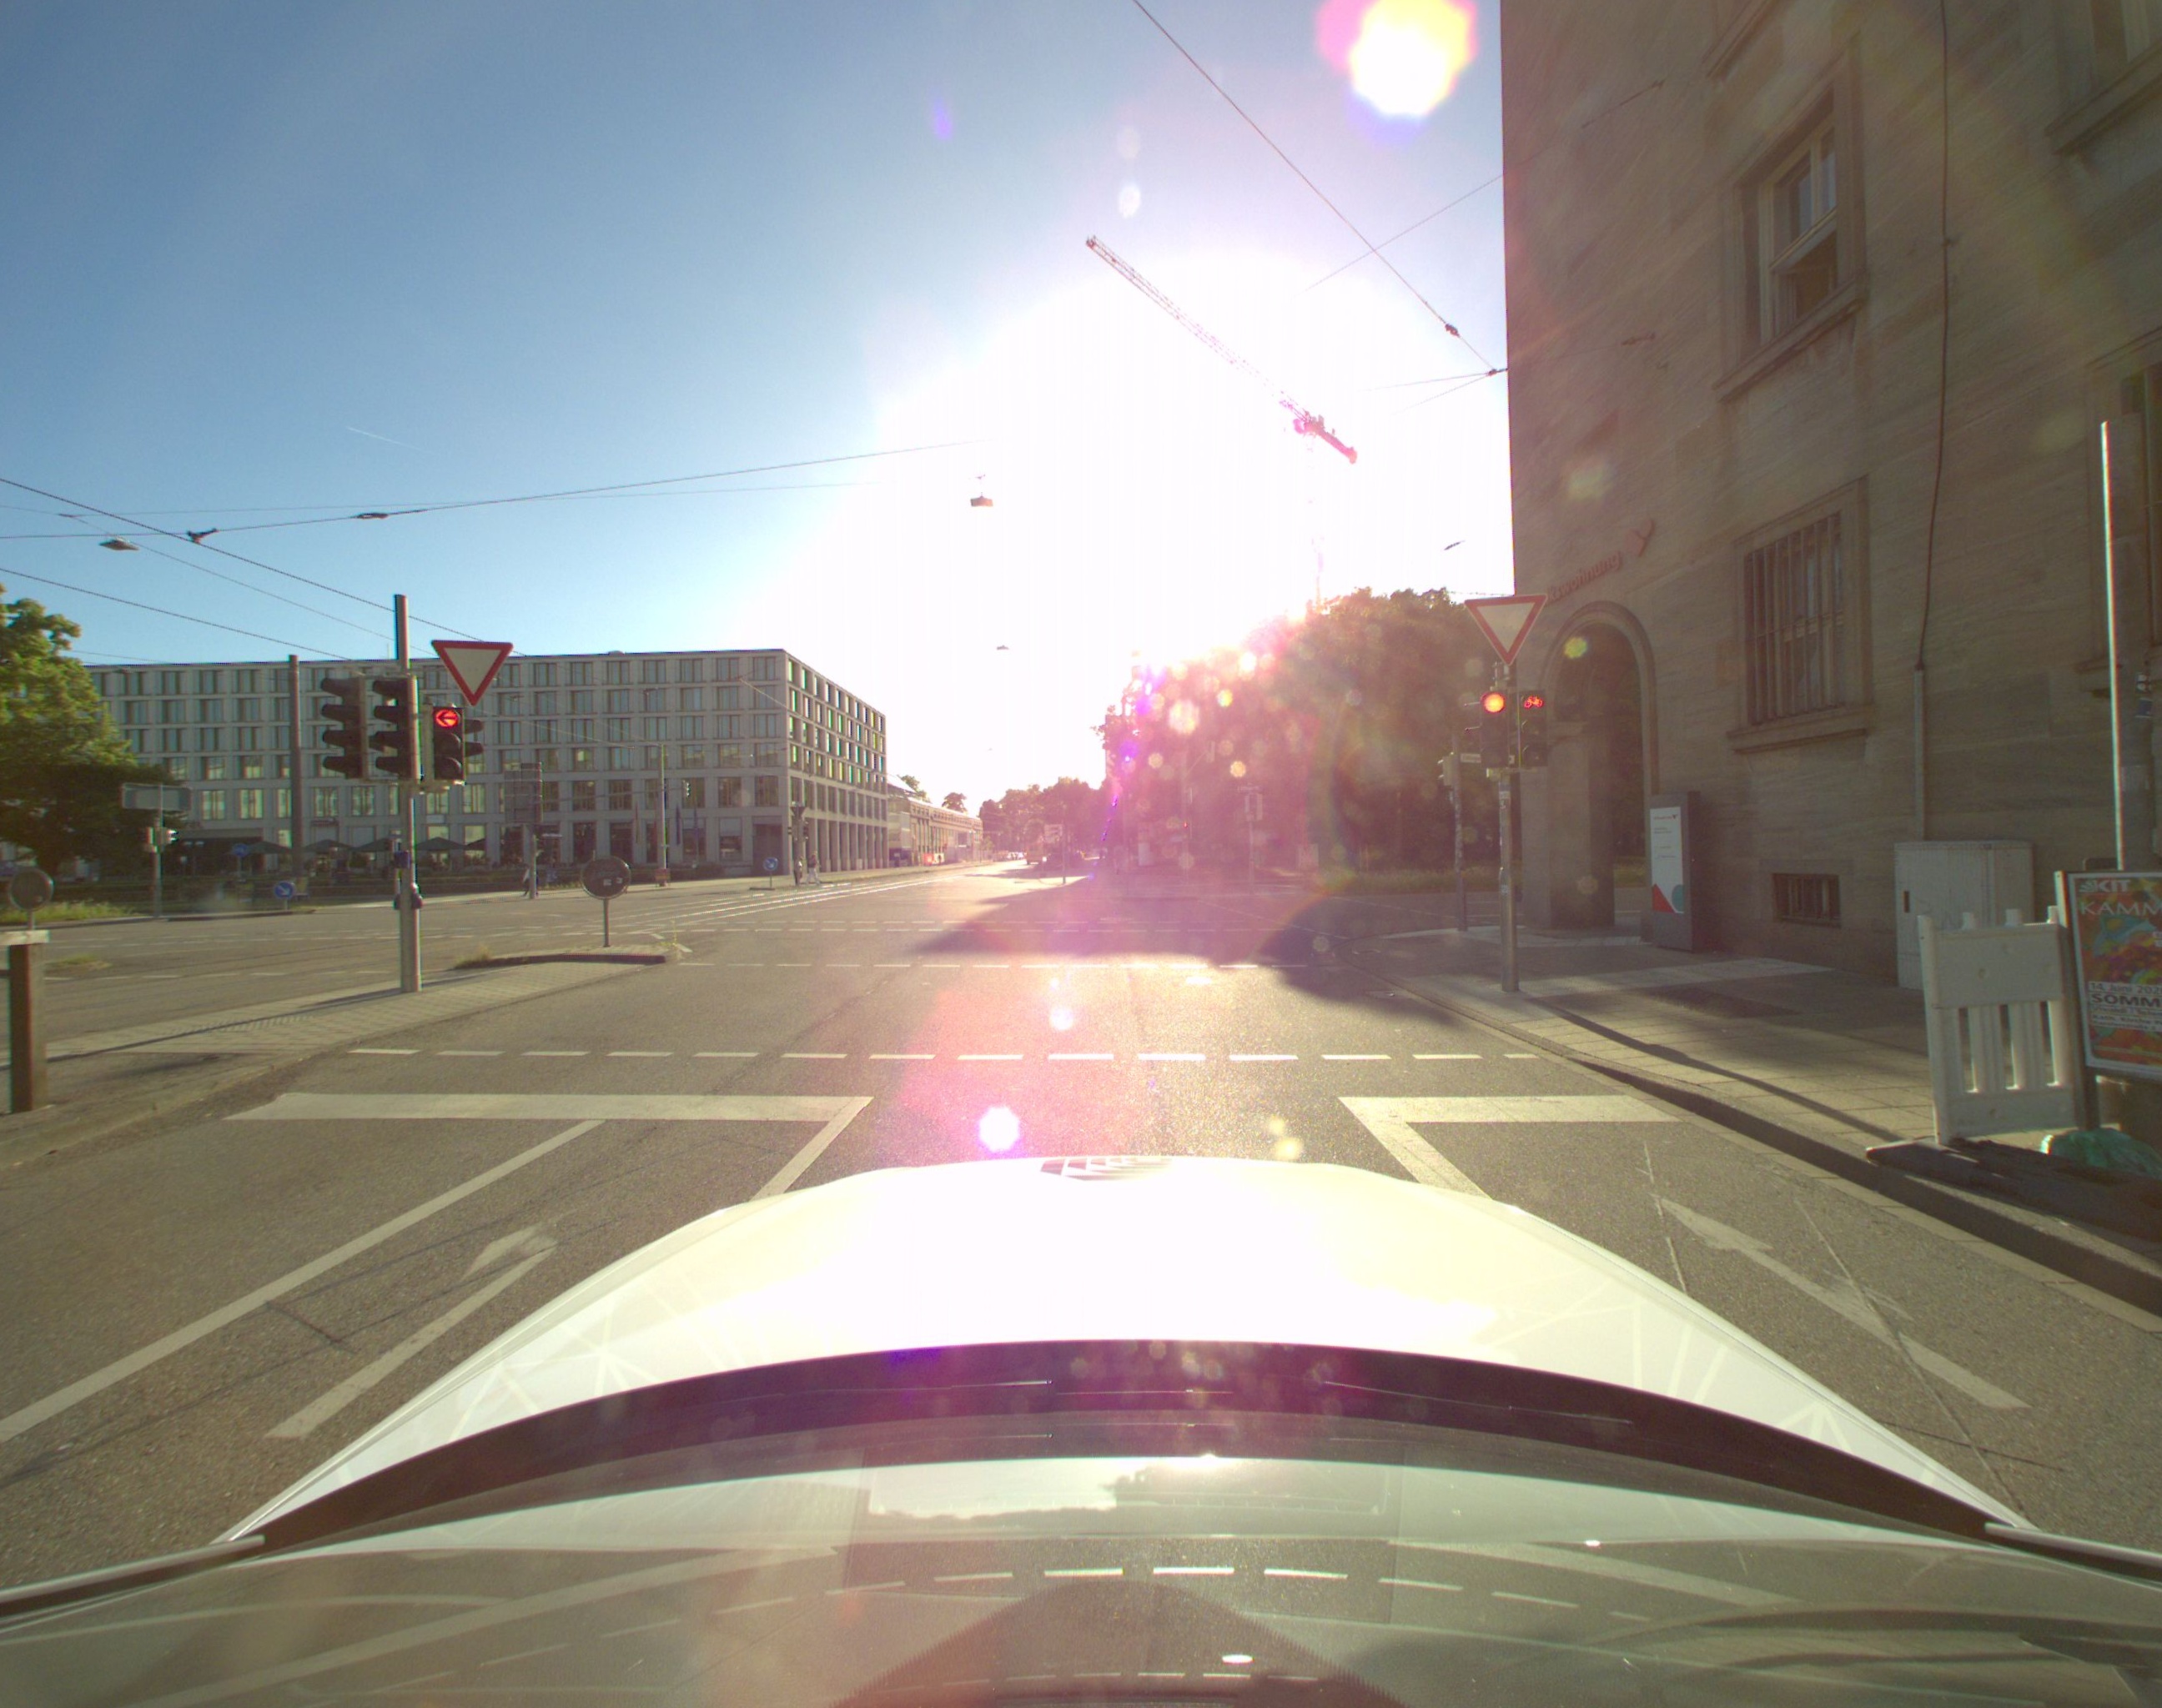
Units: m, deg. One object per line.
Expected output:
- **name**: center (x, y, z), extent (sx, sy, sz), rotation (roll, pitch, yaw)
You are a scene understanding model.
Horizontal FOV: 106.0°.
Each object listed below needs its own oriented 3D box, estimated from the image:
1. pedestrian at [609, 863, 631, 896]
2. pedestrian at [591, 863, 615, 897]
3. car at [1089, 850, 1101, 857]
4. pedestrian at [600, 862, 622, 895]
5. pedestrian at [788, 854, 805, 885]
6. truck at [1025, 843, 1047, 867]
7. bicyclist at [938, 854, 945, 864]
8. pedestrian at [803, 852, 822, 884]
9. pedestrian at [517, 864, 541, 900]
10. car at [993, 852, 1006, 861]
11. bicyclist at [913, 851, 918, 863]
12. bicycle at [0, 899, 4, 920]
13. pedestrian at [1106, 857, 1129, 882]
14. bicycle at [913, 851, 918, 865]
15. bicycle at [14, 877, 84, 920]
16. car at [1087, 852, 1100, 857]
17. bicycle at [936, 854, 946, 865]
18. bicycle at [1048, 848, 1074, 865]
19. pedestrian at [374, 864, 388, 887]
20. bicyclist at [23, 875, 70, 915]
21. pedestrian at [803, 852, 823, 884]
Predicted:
- **pedestrian**: center (-25.559, 1.405, 45.137), extent (0.865, 1.803, 0.533), rotation (-2, 0, 7)
- **pedestrian**: center (-26.173, 1.434, 44.559), extent (0.865, 1.803, 0.665), rotation (-2, 0, 7)
- **car**: center (3.660, -0.139, 213.673), extent (3.207, 1.588, 1.445), rotation (0, -1, -3)
- **pedestrian**: center (-26.442, 1.353, 45.858), extent (0.735, 1.803, 0.717), rotation (-2, 0, 7)
- **pedestrian**: center (-15.546, 0.847, 44.522), extent (0.691, 1.644, 0.622), rotation (-2, 0, 2)
- **truck**: center (-5.964, 0.137, 108.592), extent (2.709, 3.016, 6.485), rotation (-1, 0, -2)
- **bicyclist**: center (-20.025, 0.737, 117.067), extent (0.686, 1.328, 1.001), rotation (0, -1, 4)
- **pedestrian**: center (-14.165, 0.738, 43.008), extent (0.790, 1.644, 0.621), rotation (-2, 0, -3)
- **pedestrian**: center (-29.910, 1.503, 44.154), extent (0.797, 1.918, 0.638), rotation (-2, 0, 7)
- **car**: center (-15.685, 0.430, 157.159), extent (1.888, 1.607, 4.499), rotation (-2, 0, 0)
- **bicyclist**: center (-26.669, 0.500, 131.124), extent (0.569, 2.024, 0.762), rotation (-2, 0, 0)
- **bicycle**: center (-47.491, 2.421, 34.796), extent (2.059, 0.933, 0.574), rotation (-2, 0, -3)
- **pedestrian**: center (1.932, 0.837, 43.712), extent (0.997, 1.317, 0.762), rotation (-2, 0, -19)
- **bicycle**: center (-26.665, 0.639, 131.144), extent (0.569, 2.296, 1.422), rotation (-2, 0, 0)
- **bicycle**: center (-43.862, 1.885, 34.623), extent (1.898, 1.735, 0.595), rotation (-2, 0, -11)
- **car**: center (3.202, 0.064, 211.390), extent (3.207, 1.263, 1.373), rotation (0, -1, 0)
- **bicycle**: center (-20.074, 0.827, 116.997), extent (0.686, 1.511, 2.947), rotation (0, -1, 4)
- **bicycle**: center (-2.024, 0.254, 81.596), extent (2.538, 1.744, 1.038), rotation (0, -1, 1)
- **pedestrian**: center (-52.413, 1.595, 60.976), extent (0.538, 1.669, 0.561), rotation (0, -1, -2)
- **bicyclist**: center (-43.948, 1.741, 34.610), extent (1.075, 1.641, 0.595), rotation (-2, 0, -11)
- **pedestrian**: center (-14.925, 0.765, 45.371), extent (0.744, 1.761, 0.679), rotation (-2, -1, 6)
